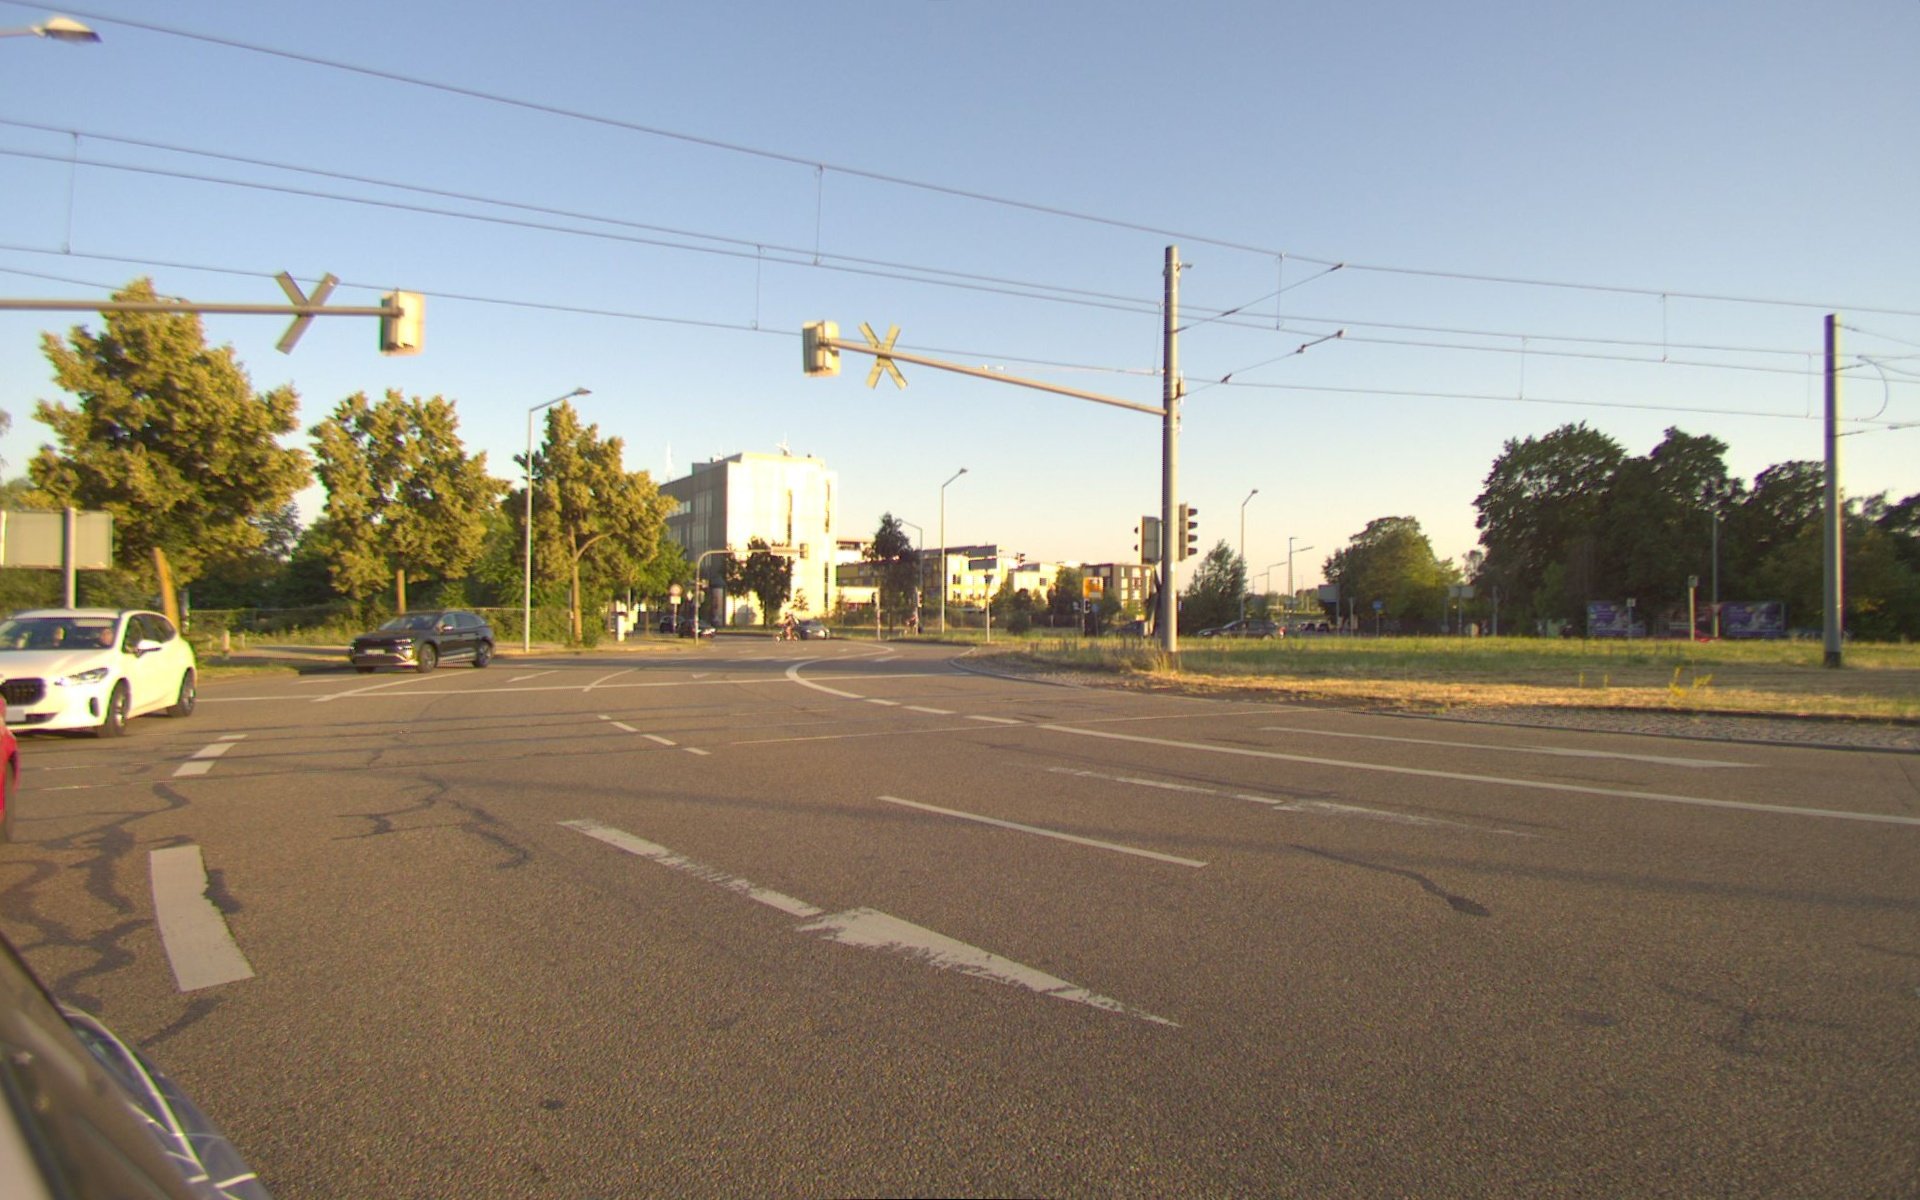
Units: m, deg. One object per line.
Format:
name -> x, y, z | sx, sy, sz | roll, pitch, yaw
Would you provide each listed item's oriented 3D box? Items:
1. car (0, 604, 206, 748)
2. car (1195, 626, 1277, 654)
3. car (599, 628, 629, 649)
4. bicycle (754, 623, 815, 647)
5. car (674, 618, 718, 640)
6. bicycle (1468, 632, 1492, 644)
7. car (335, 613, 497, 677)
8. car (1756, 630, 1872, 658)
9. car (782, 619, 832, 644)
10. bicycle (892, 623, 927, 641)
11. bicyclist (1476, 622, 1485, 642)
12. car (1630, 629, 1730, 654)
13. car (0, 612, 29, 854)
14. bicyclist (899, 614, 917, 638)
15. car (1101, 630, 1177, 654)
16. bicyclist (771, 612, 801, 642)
car -> -11.397, 0.884, 12.992 | 1.730, 1.570, 4.228 | 1, -2, -22
car -> 15.908, 2.302, 58.477 | 4.195, 1.512, 1.842 | 0, -1, 0
car -> -30.388, 3.343, 88.793 | 1.841, 1.763, 3.864 | 1, -1, -29
bicycle -> -10.343, 2.045, 59.858 | 3.484, 1.406, 1.125 | 1, -1, -42
car -> -20.694, 2.281, 79.224 | 1.842, 1.637, 4.203 | 1, -1, -36
bicycle -> 36.900, 2.687, 71.826 | 1.405, 0.797, 0.472 | 0, -2, 14
car -> -14.372, 1.161, 27.050 | 1.805, 1.570, 4.208 | 0, -2, 5
car -> 45.334, 2.322, 53.865 | 1.911, 1.443, 4.333 | 1, -2, -18
car -> -10.488, 2.130, 69.237 | 1.841, 1.637, 4.205 | 1, -1, -33
bicycle -> -3.418, 2.179, 68.817 | 2.290, 1.188, 0.813 | 1, -1, -35
bicyclist -> 36.908, 2.258, 71.822 | 0.443, 1.408, 0.472 | 0, -2, 13
car -> 43.099, 2.489, 60.715 | 1.911, 1.443, 4.609 | 1, -2, -18
car -> -5.967, 0.780, 5.004 | 1.667, 1.432, 4.219 | 0, -1, -38
bicyclist -> -3.525, 1.765, 68.748 | 0.984, 1.645, 0.813 | 1, -1, -34
car -> 11.360, 2.656, 64.171 | 4.384, 1.443, 1.925 | -1, -2, 29
bicyclist -> -10.299, 1.611, 59.878 | 1.395, 1.762, 1.125 | 1, -1, -41
